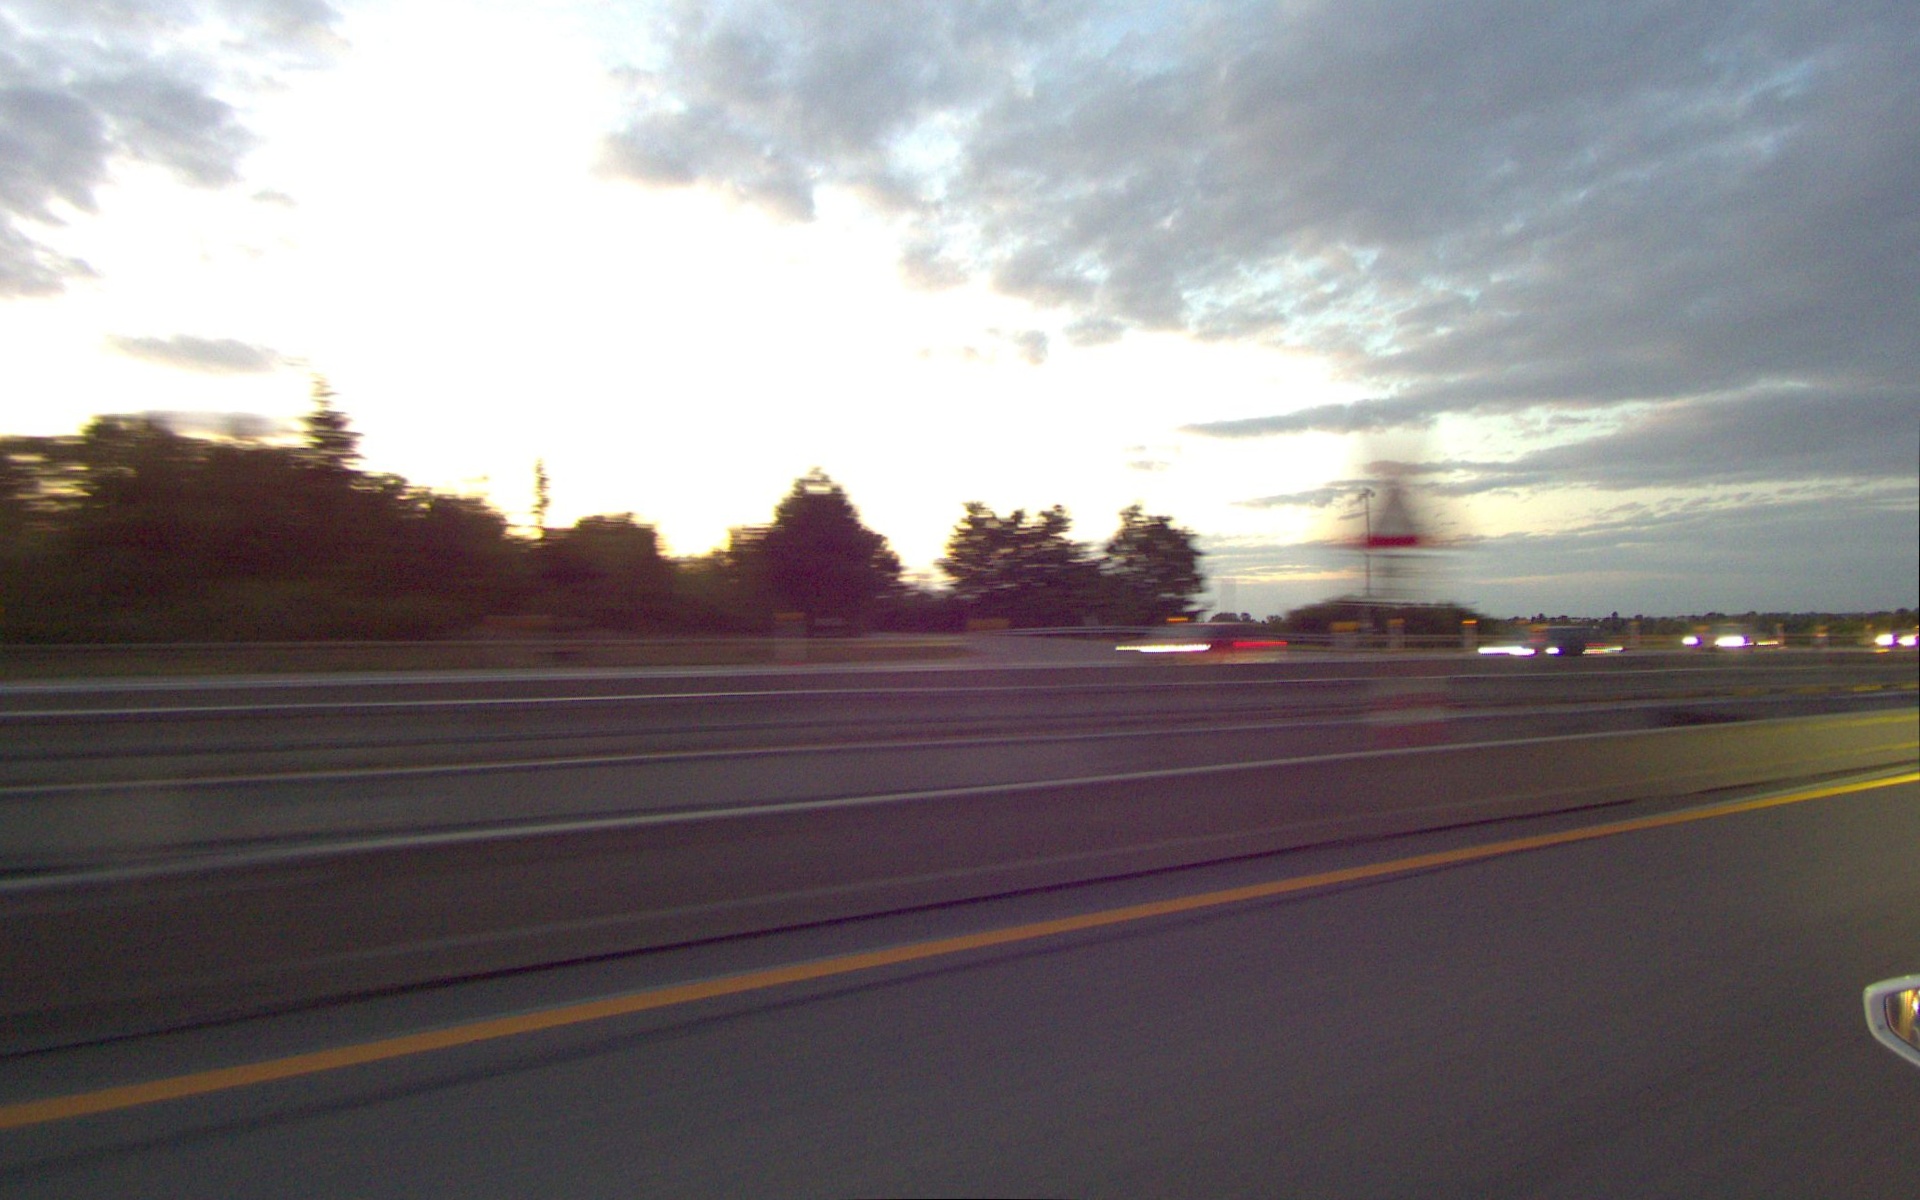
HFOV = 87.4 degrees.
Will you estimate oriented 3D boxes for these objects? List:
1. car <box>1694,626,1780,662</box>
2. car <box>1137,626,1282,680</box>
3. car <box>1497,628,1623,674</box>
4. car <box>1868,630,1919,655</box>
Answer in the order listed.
[{"bbox_3d":[37.188,2.091,48.056,4.373,1.569,1.755,1,0,-30],"label":"car"},{"bbox_3d":[7.626,1.593,30.620,4.087,1.483,1.984,1,0,-31],"label":"car"},{"bbox_3d":[21.014,1.756,35.116,4.635,1.483,1.755,1,0,-30],"label":"car"},{"bbox_3d":[61.793,2.783,66.083,4.373,1.569,1.755,1,0,-30],"label":"car"}]
